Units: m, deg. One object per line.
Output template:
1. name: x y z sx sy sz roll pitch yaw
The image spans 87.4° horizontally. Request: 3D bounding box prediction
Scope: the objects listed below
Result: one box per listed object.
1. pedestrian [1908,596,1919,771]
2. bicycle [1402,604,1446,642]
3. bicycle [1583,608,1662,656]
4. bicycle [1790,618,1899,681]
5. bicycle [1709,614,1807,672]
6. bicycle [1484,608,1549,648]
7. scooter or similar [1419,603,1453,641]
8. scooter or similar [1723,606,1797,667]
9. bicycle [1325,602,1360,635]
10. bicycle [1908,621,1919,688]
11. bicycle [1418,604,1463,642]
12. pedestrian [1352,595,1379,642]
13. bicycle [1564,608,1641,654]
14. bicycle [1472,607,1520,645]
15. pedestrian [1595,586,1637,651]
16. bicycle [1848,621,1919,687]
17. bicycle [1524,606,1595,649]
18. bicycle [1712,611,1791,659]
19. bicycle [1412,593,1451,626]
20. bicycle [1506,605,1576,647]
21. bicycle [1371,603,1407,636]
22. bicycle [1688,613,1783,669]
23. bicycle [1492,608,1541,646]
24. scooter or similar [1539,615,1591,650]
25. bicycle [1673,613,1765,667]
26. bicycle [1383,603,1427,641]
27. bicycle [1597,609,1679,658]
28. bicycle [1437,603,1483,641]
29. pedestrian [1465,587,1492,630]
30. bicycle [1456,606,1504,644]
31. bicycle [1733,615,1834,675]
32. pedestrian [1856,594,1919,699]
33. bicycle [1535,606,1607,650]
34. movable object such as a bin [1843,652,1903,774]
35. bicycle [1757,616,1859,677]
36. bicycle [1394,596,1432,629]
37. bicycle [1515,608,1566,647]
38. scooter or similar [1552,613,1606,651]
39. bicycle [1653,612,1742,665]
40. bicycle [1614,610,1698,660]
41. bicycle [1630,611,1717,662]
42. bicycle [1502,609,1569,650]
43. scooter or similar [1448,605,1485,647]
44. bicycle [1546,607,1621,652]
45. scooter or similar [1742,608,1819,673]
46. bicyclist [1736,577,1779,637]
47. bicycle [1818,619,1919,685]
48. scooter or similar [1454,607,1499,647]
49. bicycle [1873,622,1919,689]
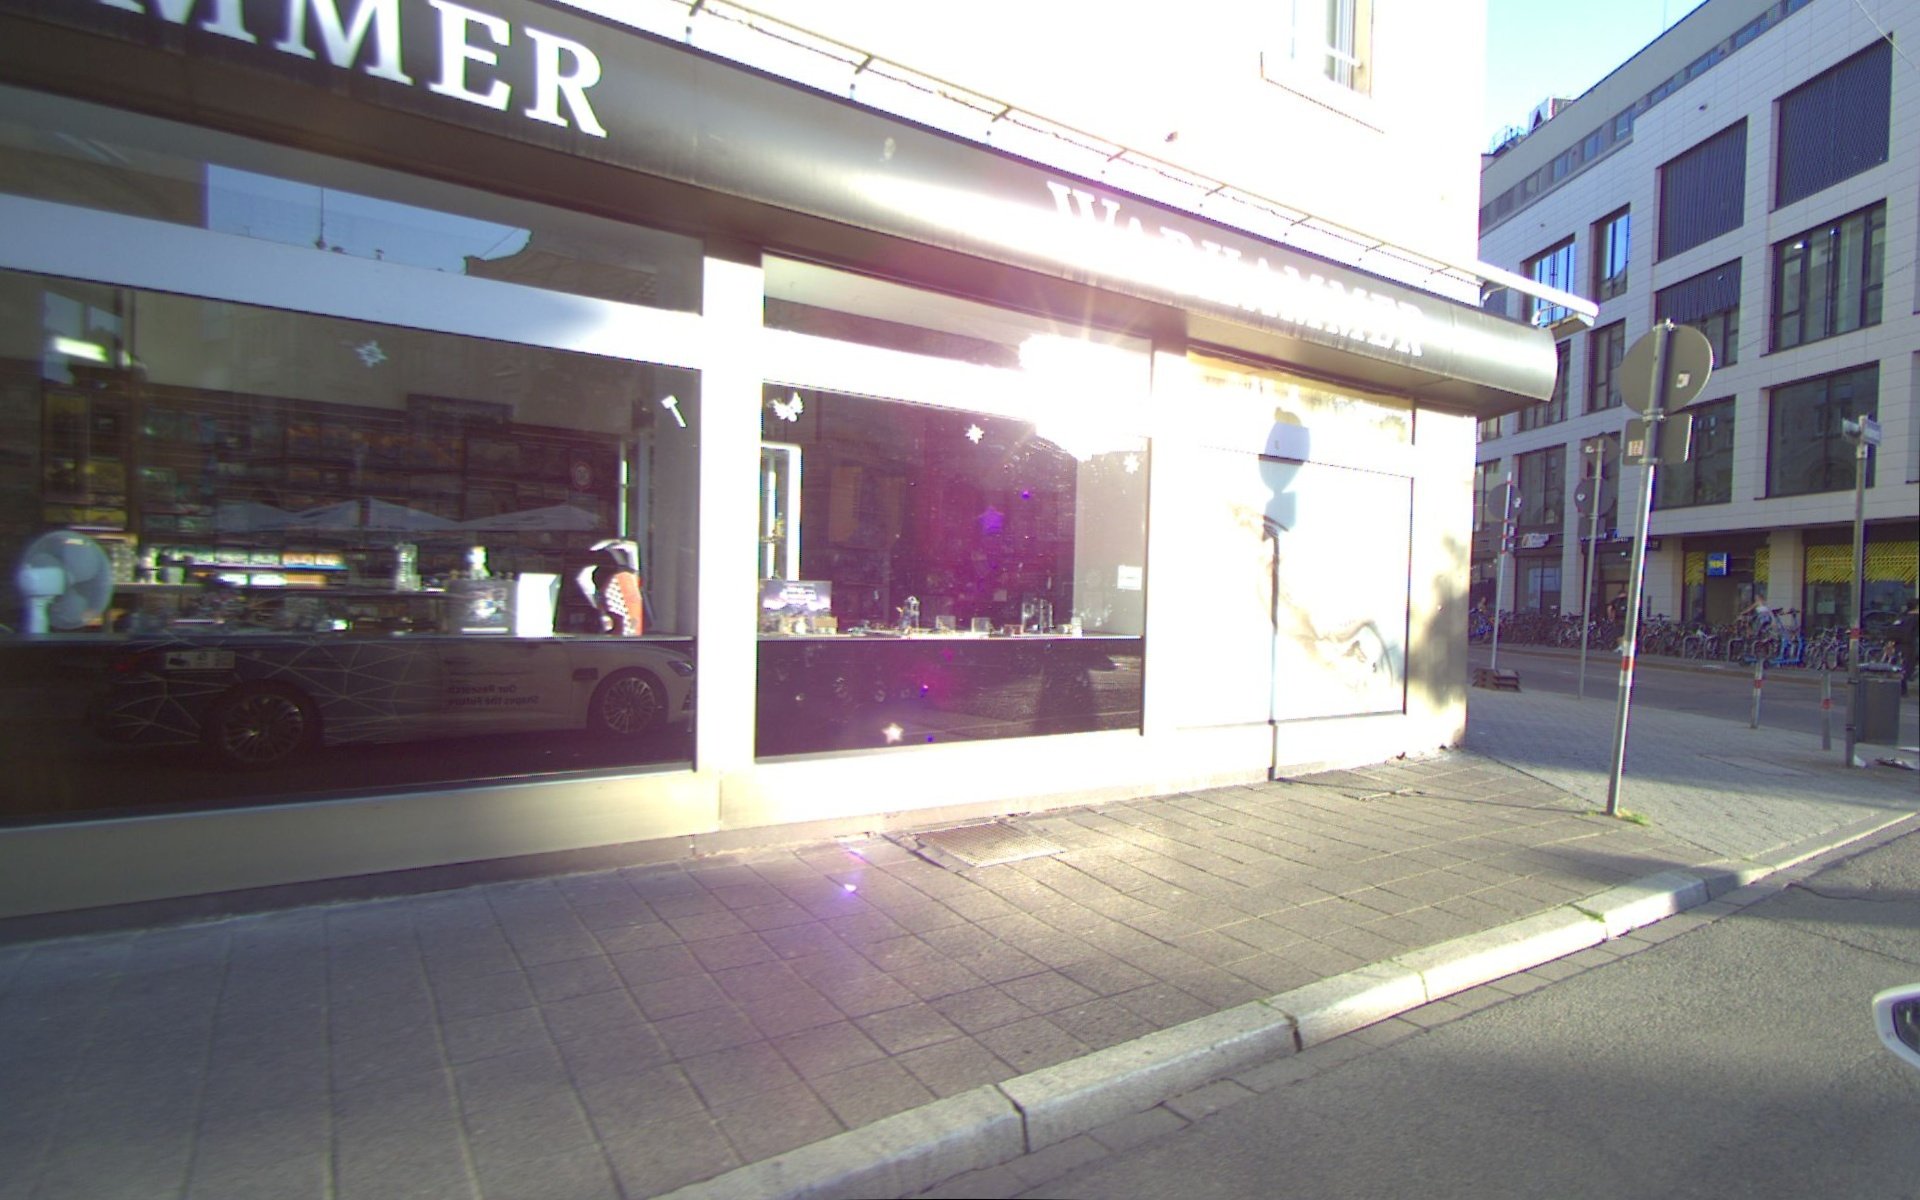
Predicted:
1. pedestrian: 9.302 0.792 9.110 0.790 1.634 0.733 2 1 28
2. bicycle: 16.735 0.806 36.291 0.503 1.271 1.977 2 1 -4
3. bicycle: 19.061 0.928 28.918 1.941 1.271 0.513 2 1 -4
4. bicycle: 19.307 1.079 21.935 1.941 1.271 0.513 2 1 -4
5. bicycle: 19.204 1.029 24.184 1.941 1.271 0.513 2 1 -4
6. bicycle: 19.075 0.964 34.438 1.941 1.271 0.513 2 1 -4
7. scooter or similar: 16.081 0.736 33.981 0.506 1.197 1.271 2 1 1
8. scooter or similar: 16.982 0.779 21.331 1.246 1.229 0.387 2 1 -4
9. bicycle: 15.883 0.750 41.704 0.503 1.271 1.977 2 1 -4
10. bicycle: 19.336 1.095 19.231 1.941 1.271 0.513 2 1 -5
11. bicycle: 17.377 0.826 36.374 0.503 1.271 1.977 2 1 -4
12. pedestrian: 15.189 0.685 37.662 0.671 1.718 0.644 2 1 -3
13. bicycle: 19.029 0.910 29.746 1.941 1.271 0.513 2 1 -4
14. bicycle: 19.465 0.927 36.501 0.503 1.271 1.977 2 1 -4
15. pedestrian: 17.845 0.502 27.332 0.671 1.718 0.644 2 1 1
16. bicycle: 19.267 1.107 20.450 1.941 1.271 0.513 2 1 -4
17. bicycle: 19.135 0.868 32.072 1.941 1.271 0.513 2 1 -4
18. bicycle: 22.980 0.992 29.197 0.601 1.271 1.978 2 1 -3
19. bicycle: 19.747 0.379 42.087 0.503 1.271 1.977 2 1 -4
20. bicycle: 18.957 0.846 32.783 1.941 1.271 0.513 2 1 -4
21. bicycle: 17.979 0.802 42.152 0.503 1.271 1.977 2 1 -4
22. bicycle: 19.134 1.014 24.788 1.941 1.271 0.513 2 1 -4
23. bicycle: 20.155 0.967 36.435 0.503 1.271 1.977 2 1 -4
24. scooter or similar: 17.340 0.928 28.799 1.246 0.954 0.387 2 1 -4
25. bicycle: 19.228 1.005 25.460 1.941 1.271 0.513 2 1 -4
26. bicycle: 16.010 0.772 36.182 0.503 1.271 1.977 2 1 -4
27. bicycle: 18.966 0.940 28.106 1.941 1.271 0.513 2 1 -4
28. bicycle: 18.093 0.793 36.387 0.503 1.271 1.977 2 1 -4
29. pedestrian: 20.949 0.343 40.594 0.671 1.718 0.644 2 1 -3
30. bicycle: 18.827 0.885 36.401 0.503 1.271 1.977 2 1 -4
31. bicycle: 19.166 1.043 23.397 1.941 1.271 0.513 2 1 -4
32. pedestrian: 15.547 0.757 16.705 0.614 1.680 0.860 1 2 -45
33. bicycle: 19.018 0.879 31.272 1.941 1.271 0.513 2 1 -4
34. movable object such as a bin: 8.496 1.034 9.349 0.354 1.078 0.355 1 1 -44
35. bicycle: 19.206 1.058 22.767 1.942 1.271 0.513 2 1 -6
36. bicycle: 18.947 0.516 42.022 0.503 1.271 1.977 2 1 -4
37. bicycle: 20.948 0.980 36.294 0.503 1.271 1.977 2 1 -4
38. scooter or similar: 17.321 0.900 28.119 1.246 1.005 0.387 2 1 -4
39. bicycle: 19.175 0.989 26.140 1.941 1.271 0.513 2 1 -4
40. bicycle: 19.037 0.956 27.479 1.941 1.271 0.513 2 1 -4
41. bicycle: 19.085 0.970 26.879 1.941 1.271 0.513 2 1 -4
42. bicycle: 19.198 0.985 33.523 1.941 1.271 0.513 2 1 -4
43. scooter or similar: 16.099 0.807 31.962 0.506 1.259 1.271 2 1 1
44. bicycle: 18.904 0.890 30.486 1.941 1.271 0.513 2 1 -4
45. scooter or similar: 16.942 0.827 20.743 1.246 1.277 0.387 2 1 -4
46. bicyclist: 23.044 0.194 29.035 0.671 1.718 0.644 2 1 -2
47. bicycle: 19.261 1.092 21.167 1.941 1.271 0.513 2 1 -4
48. scooter or similar: 17.288 0.899 33.633 1.246 1.259 0.387 2 1 -4
49. bicycle: 19.262 1.118 19.877 1.941 1.271 0.513 2 1 -4
